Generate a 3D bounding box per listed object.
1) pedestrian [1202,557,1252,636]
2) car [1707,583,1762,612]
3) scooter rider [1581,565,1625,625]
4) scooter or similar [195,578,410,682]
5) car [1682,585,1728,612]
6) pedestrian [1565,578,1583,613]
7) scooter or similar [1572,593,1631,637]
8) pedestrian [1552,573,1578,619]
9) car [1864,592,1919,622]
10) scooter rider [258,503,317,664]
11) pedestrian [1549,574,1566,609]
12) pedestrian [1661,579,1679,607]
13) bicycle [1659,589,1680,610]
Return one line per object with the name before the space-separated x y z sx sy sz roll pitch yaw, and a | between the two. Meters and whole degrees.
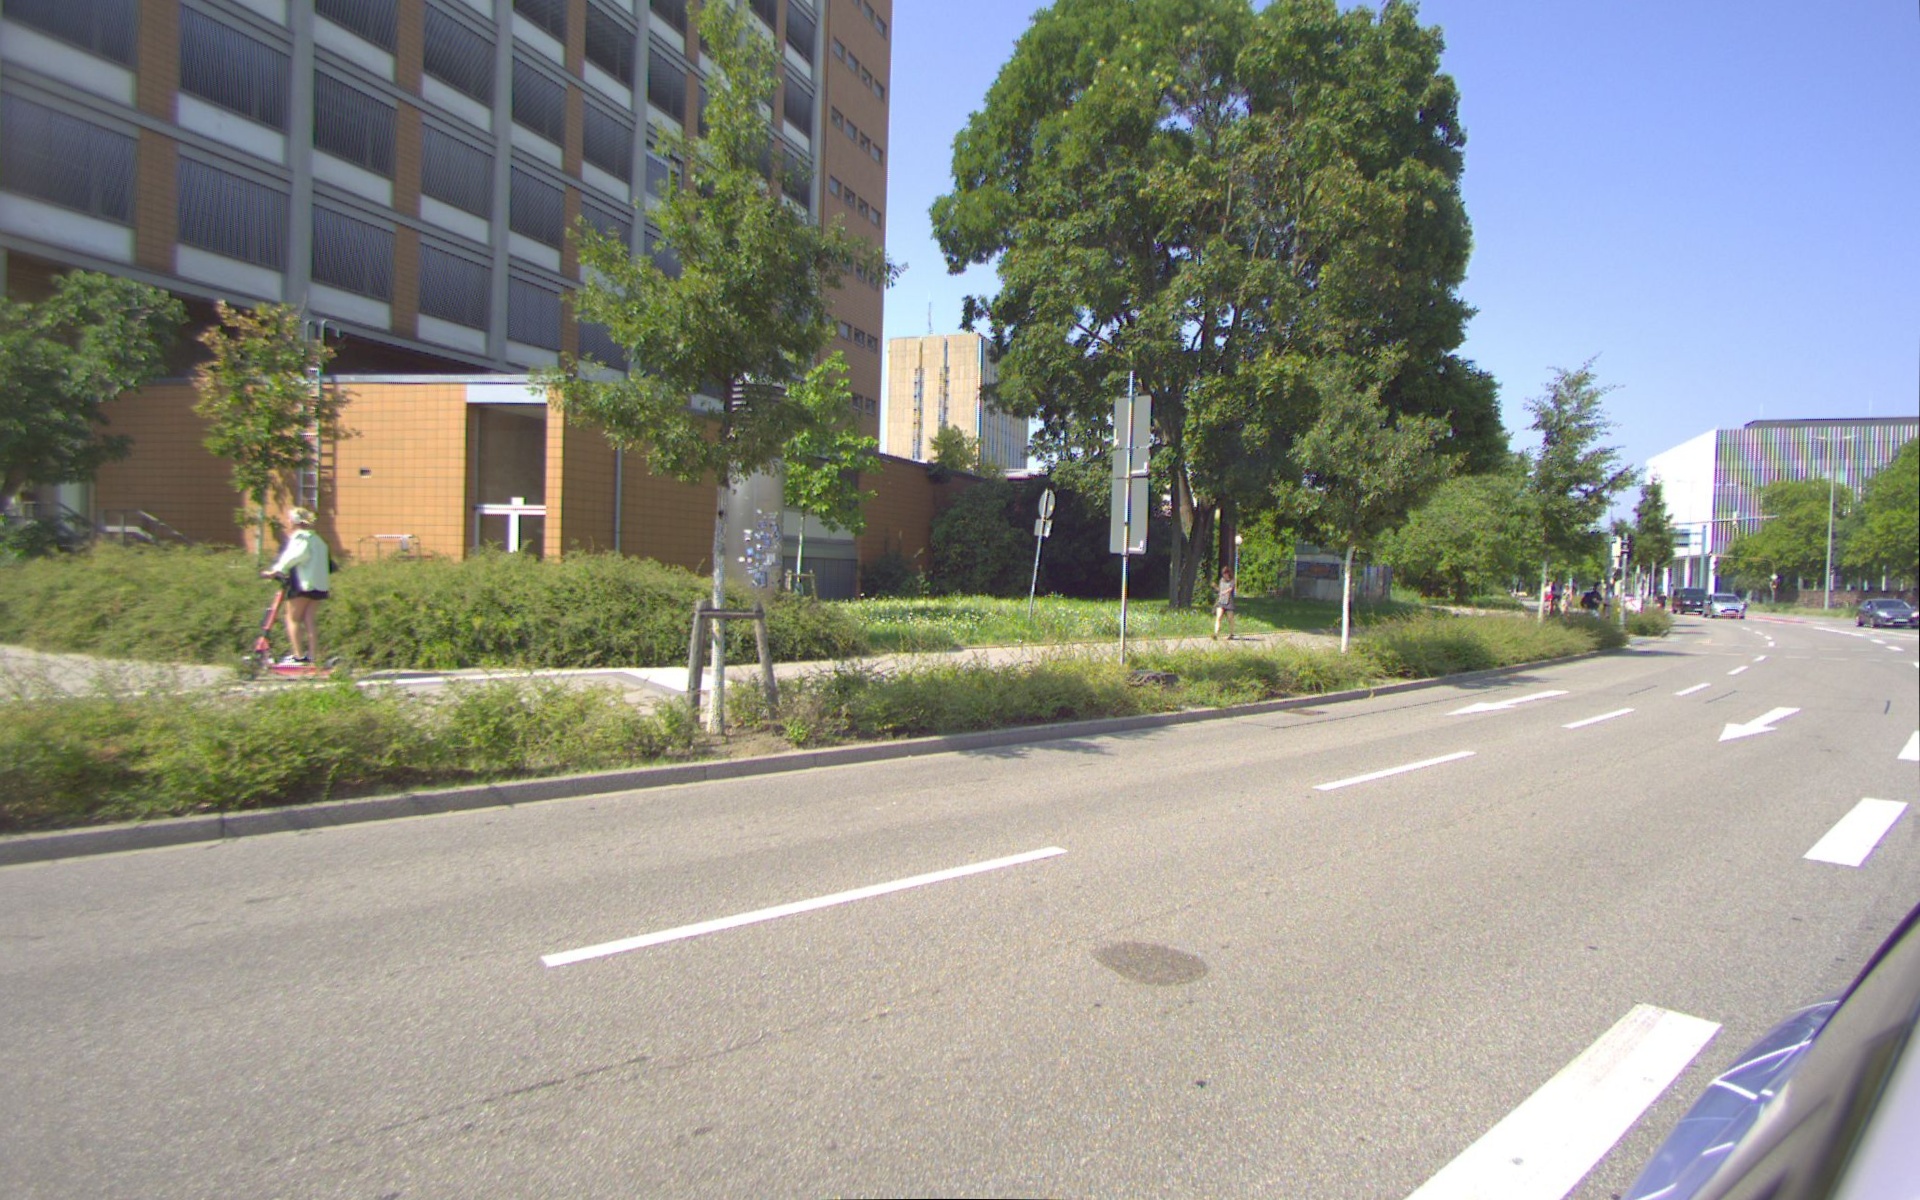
pedestrian | 6.097 -0.093 23.115 0.705 1.725 0.866 5 4 40
car | 48.964 -0.204 64.067 1.981 1.699 3.962 2 2 27
scooter rider | 19.537 -0.156 30.759 0.674 1.760 0.807 1 2 -26
scooter or similar | -7.300 0.291 11.312 1.966 1.073 0.558 -1 1 -35
car | 53.899 -0.159 73.309 1.981 1.801 3.962 2 2 27
pedestrian | 32.260 -0.242 53.172 0.688 1.793 0.582 3 2 29
scooter or similar | 19.473 0.440 30.742 0.573 1.249 1.371 1 3 -26
pedestrian | 24.519 -0.175 41.037 0.787 1.790 0.818 2 2 28
car | 46.080 0.305 49.619 1.774 1.374 3.392 1 1 27
scooter rider | -7.437 -0.186 11.198 0.529 1.720 0.673 0 1 -34
pedestrian | 31.610 -0.464 53.524 0.688 1.793 0.582 3 2 29
pedestrian | 43.713 -0.450 62.337 0.774 1.689 0.543 3 2 29
bicycle | 43.747 -0.039 62.443 0.779 1.227 1.772 3 2 28
